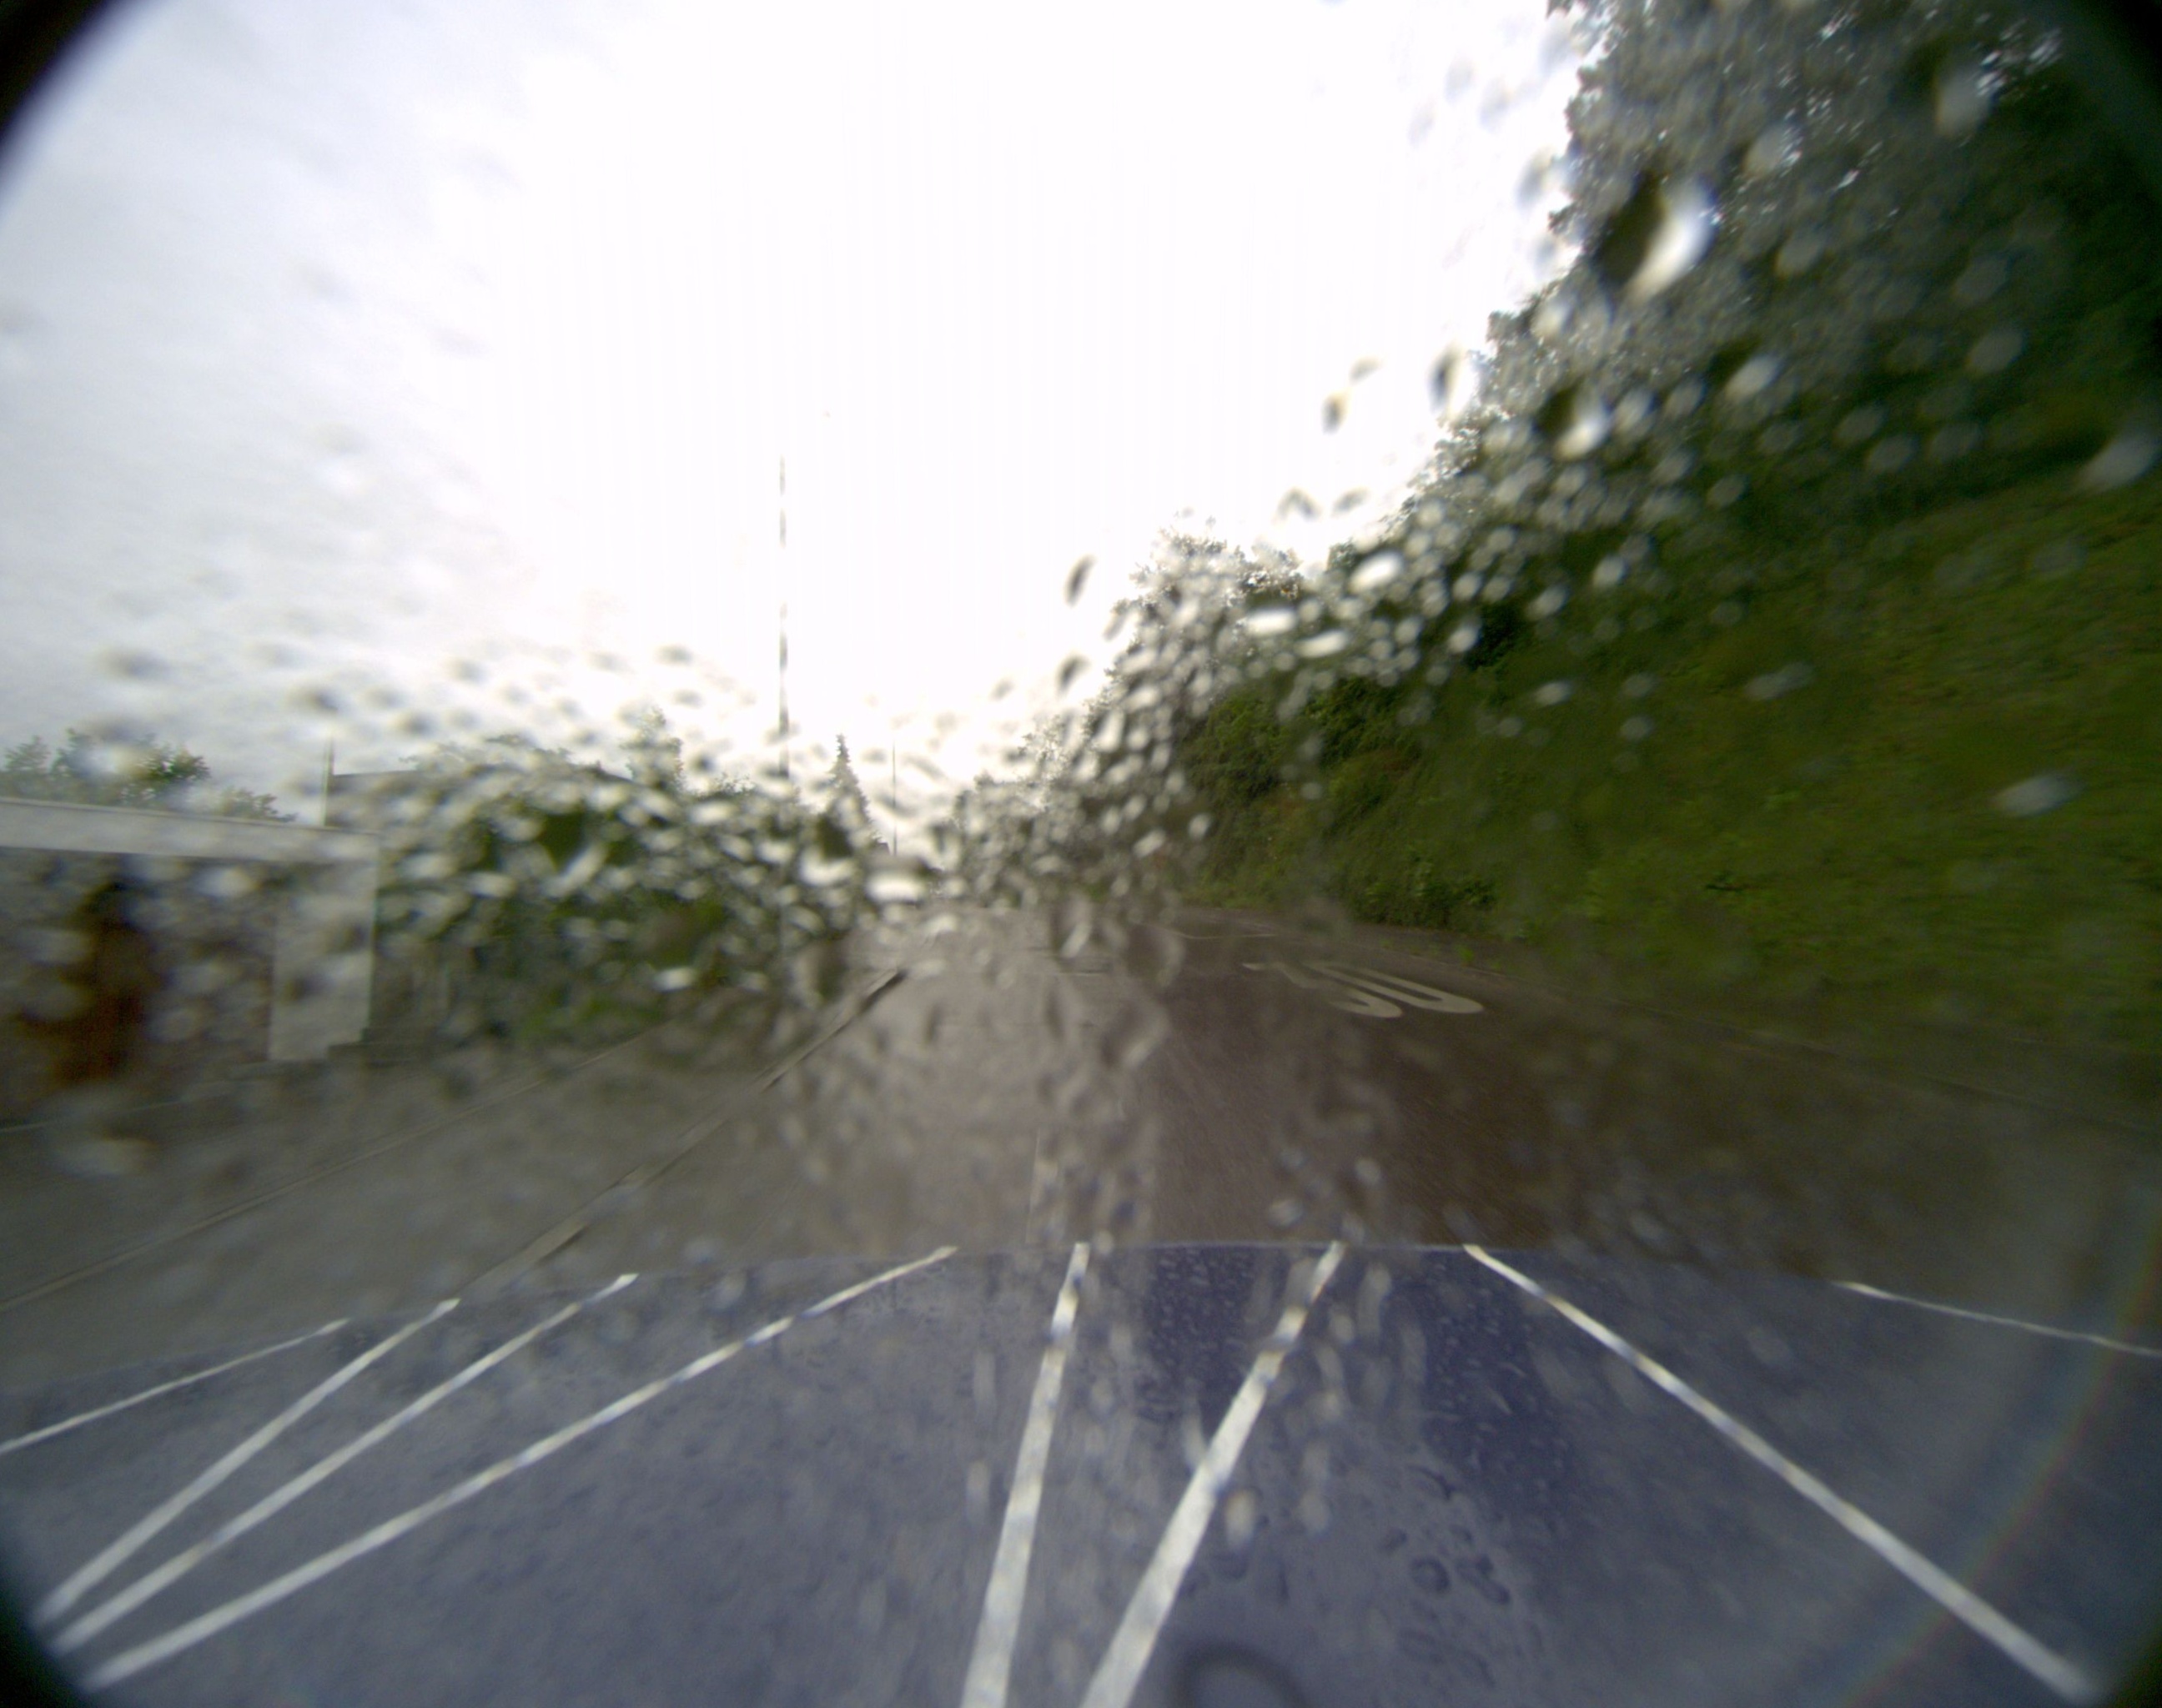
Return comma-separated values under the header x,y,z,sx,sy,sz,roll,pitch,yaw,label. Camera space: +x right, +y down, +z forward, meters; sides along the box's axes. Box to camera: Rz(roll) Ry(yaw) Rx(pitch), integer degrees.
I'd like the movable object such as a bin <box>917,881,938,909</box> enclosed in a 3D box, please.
x,y,z,sx,sy,sz,roll,pitch,yaw,label
-6.393,1.704,31.622,0.792,1.088,0.675,3,-3,-14,movable object such as a bin

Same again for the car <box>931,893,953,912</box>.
x,y,z,sx,sy,sz,roll,pitch,yaw,label
-15.683,5.418,85.313,2.119,1.961,5.171,0,-5,-14,car

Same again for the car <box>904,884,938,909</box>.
x,y,z,sx,sy,sz,roll,pitch,yaw,label
-11.203,3.002,53.062,1.883,1.581,4.476,0,-5,-18,car

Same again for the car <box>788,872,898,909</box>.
x,y,z,sx,sy,sz,roll,pitch,yaw,label
-10.303,1.594,33.180,4.229,1.406,1.941,-2,-2,-5,car
